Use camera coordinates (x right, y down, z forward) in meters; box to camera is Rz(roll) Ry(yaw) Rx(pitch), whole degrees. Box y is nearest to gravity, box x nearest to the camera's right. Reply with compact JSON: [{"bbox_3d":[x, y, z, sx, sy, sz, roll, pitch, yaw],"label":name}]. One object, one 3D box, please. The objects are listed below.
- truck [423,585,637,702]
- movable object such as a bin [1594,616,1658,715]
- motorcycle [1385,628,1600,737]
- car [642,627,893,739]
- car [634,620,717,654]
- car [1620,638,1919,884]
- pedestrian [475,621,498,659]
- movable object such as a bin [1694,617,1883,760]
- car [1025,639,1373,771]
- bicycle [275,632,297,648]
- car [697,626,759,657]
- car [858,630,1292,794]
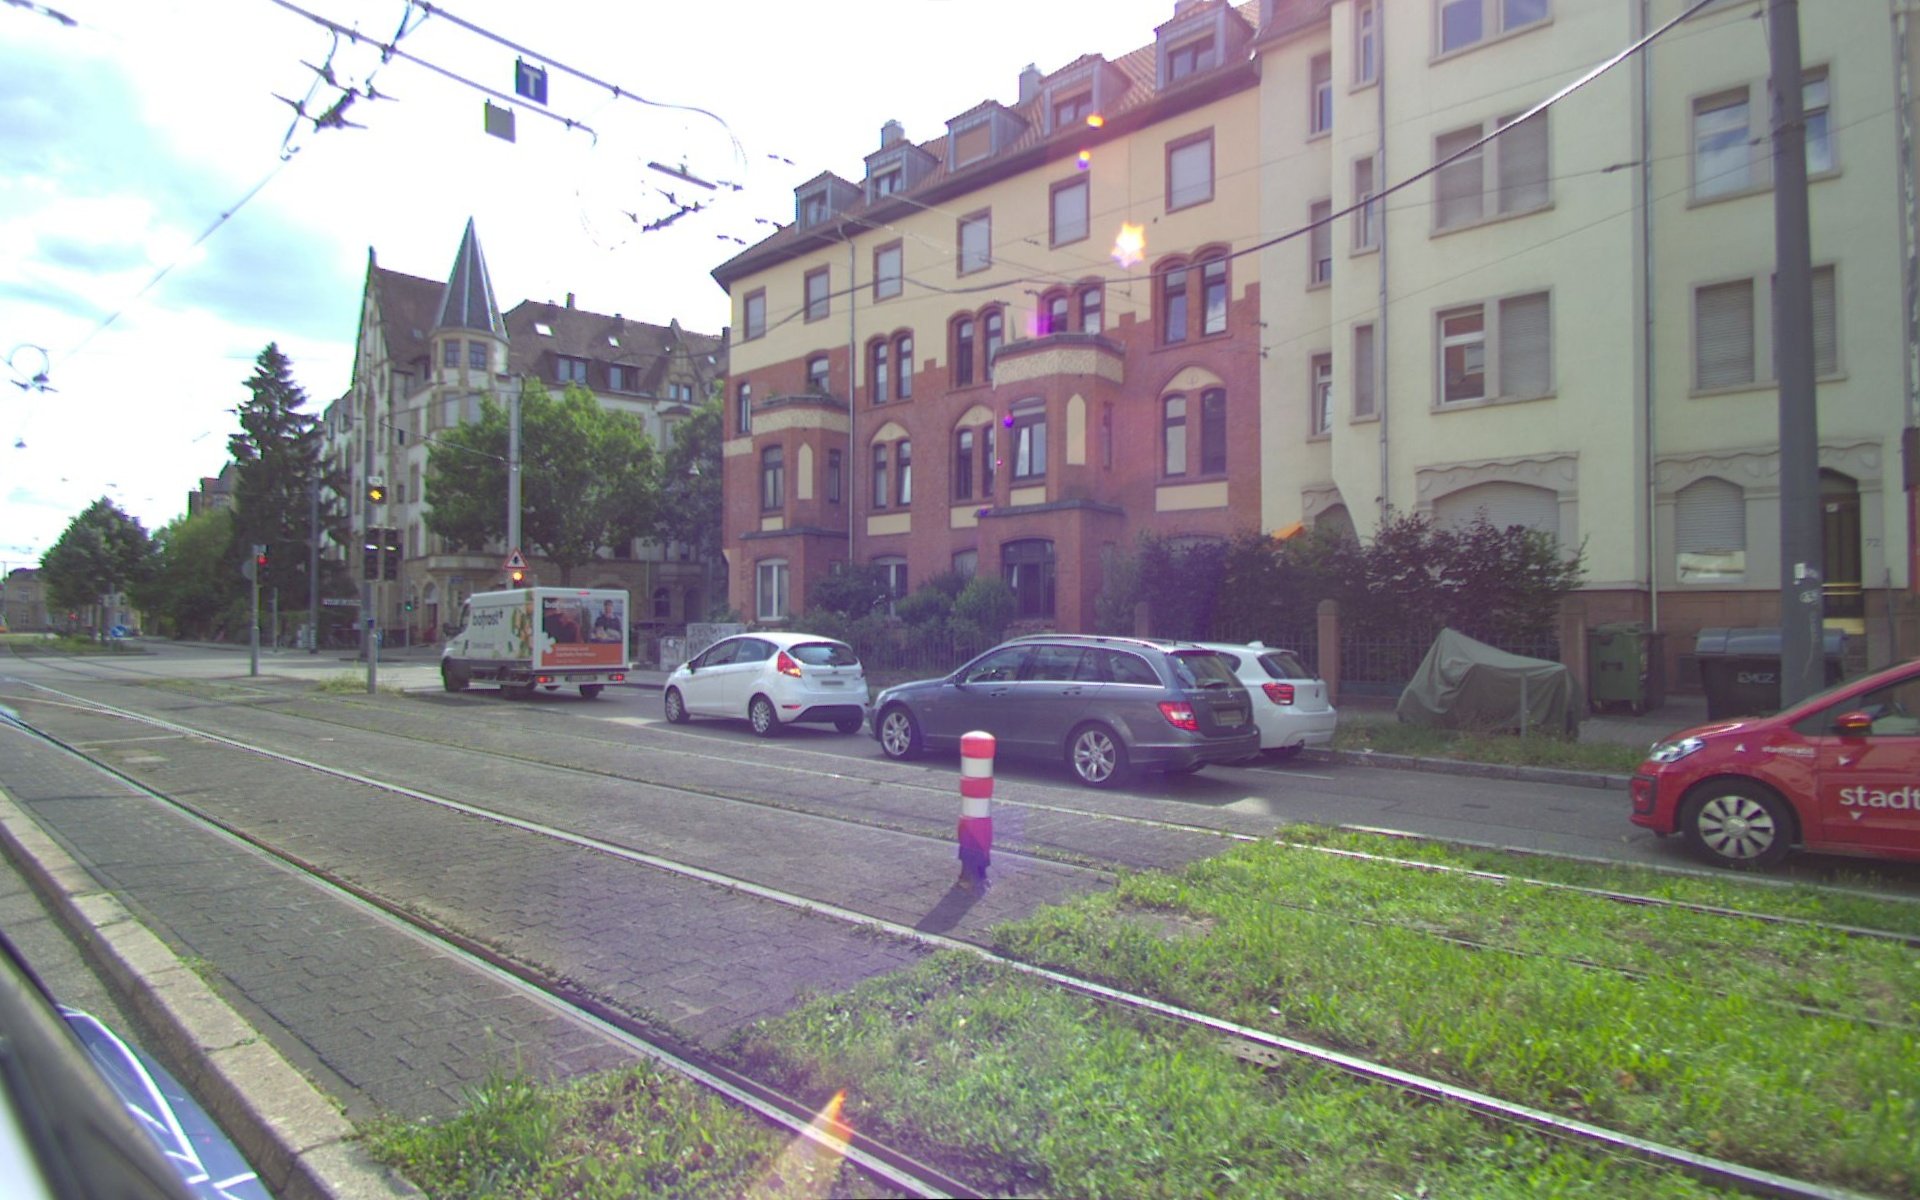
[{"bbox_3d":[-9.768,0.937,22.594,2.159,2.231,6.617,3,-3,-44],"label":"truck"},{"bbox_3d":[9.606,0.928,14.587,0.698,1.372,0.666,-1,-2,38],"label":"movable object such as a bin"},{"bbox_3d":[6.660,0.986,12.727,2.290,1.252,0.892,-1,-2,36],"label":"motorcycle"},{"bbox_3d":[-3.026,1.175,15.360,1.734,1.425,4.137,4,-4,-44],"label":"car"},{"bbox_3d":[-15.777,2.067,56.253,3.936,1.835,2.003,3,-3,-40],"label":"car"},{"bbox_3d":[6.328,0.954,6.147,3.692,1.397,1.562,-1,-3,42],"label":"car"},{"bbox_3d":[-22.081,1.859,47.179,0.919,1.754,0.772,1,-2,-24],"label":"pedestrian"},{"bbox_3d":[9.029,0.916,11.068,1.521,1.377,0.941,-1,3,41],"label":"movable object such as a bin"},{"bbox_3d":[2.923,1.204,12.909,3.995,1.366,1.735,-1,-3,43],"label":"car"},{"bbox_3d":[-40.759,2.411,61.192,0.616,0.979,2.337,2,-3,-45],"label":"bicycle"},{"bbox_3d":[-12.082,2.157,52.910,1.632,1.557,3.713,0,-2,15],"label":"car"},{"bbox_3d":[1.055,1.057,10.925,4.513,1.366,1.735,-1,-4,43],"label":"car"}]
